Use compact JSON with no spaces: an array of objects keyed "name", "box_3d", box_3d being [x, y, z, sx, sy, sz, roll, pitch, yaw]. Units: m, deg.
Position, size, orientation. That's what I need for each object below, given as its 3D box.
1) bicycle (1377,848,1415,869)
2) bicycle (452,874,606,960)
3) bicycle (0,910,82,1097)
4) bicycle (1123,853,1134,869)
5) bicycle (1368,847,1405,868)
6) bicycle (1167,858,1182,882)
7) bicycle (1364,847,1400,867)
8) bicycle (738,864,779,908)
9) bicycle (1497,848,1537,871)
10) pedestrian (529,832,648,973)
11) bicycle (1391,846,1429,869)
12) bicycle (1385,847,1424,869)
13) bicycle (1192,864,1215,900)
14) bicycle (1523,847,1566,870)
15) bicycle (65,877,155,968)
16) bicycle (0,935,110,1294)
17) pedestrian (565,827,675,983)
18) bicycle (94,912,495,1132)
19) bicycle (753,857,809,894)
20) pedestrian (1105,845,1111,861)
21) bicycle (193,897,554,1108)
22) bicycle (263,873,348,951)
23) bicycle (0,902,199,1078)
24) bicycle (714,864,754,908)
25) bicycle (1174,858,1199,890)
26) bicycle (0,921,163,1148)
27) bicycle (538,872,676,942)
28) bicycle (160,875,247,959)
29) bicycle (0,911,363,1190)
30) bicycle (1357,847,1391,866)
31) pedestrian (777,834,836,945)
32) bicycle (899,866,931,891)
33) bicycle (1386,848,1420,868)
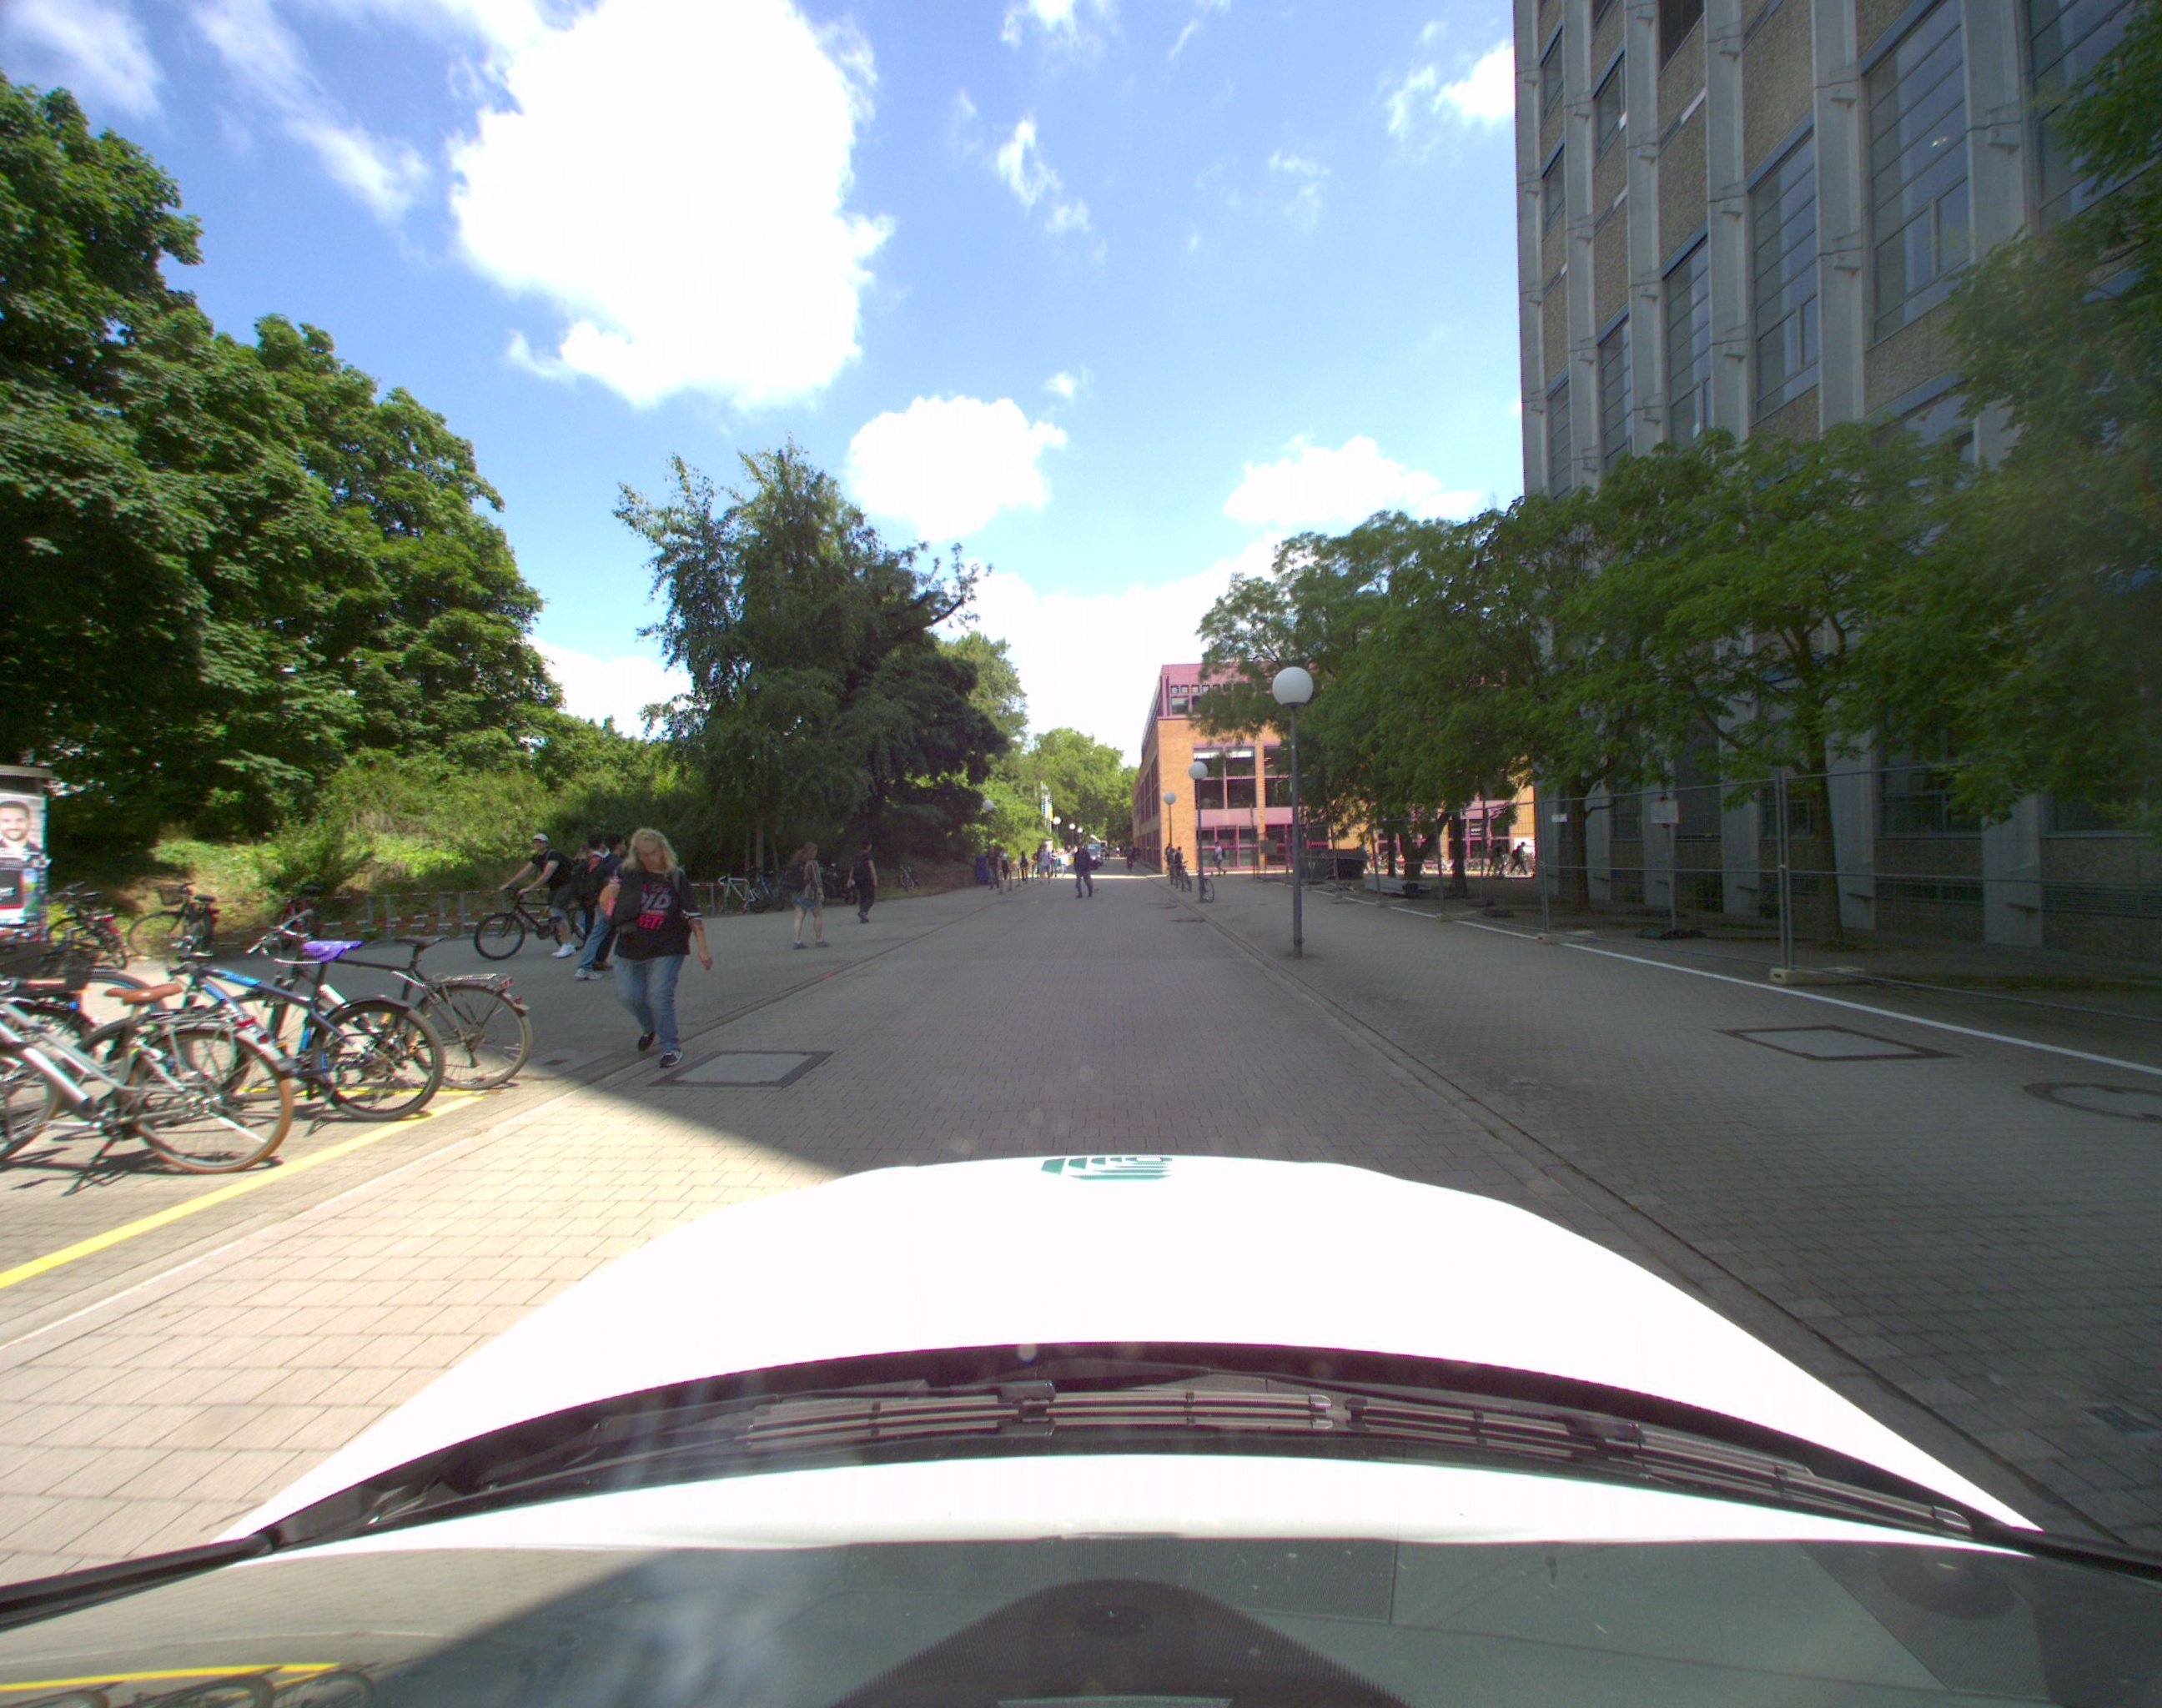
[{"name":"bicycle","box_3d":[16.521,0.239,42.742,1.803,1.110,0.524,0,0,1]},{"name":"bicycle","box_3d":[-8.055,0.881,11.984,0.468,1.110,1.856,-1,0,28]},{"name":"bicycle","box_3d":[-7.255,0.916,5.196,1.705,1.083,0.476,-1,0,16]},{"name":"bicycle","box_3d":[3.337,0.471,57.179,0.585,1.083,1.907,-1,0,-1]},{"name":"bicycle","box_3d":[16.357,0.186,43.603,1.800,1.110,0.524,0,0,5]},{"name":"bicycle","box_3d":[3.987,0.656,34.743,0.449,0.962,1.741,-4,0,2]},{"name":"bicycle","box_3d":[16.470,0.150,44.569,1.804,1.110,0.523,0,0,-1]},{"name":"bicycle","box_3d":[-8.248,0.798,20.790,0.476,1.047,1.680,1,0,-39]},{"name":"bicycle","box_3d":[22.421,0.297,41.875,1.799,1.169,0.474,0,0,2]},{"name":"pedestrian","box_3d":[-6.379,0.586,10.586,0.710,1.724,1.071,-1,1,34]},{"name":"bicycle","box_3d":[16.533,0.177,40.955,1.686,1.110,0.475,0,0,5]},{"name":"bicycle","box_3d":[16.704,0.204,42.074,1.800,1.110,0.524,0,0,5]},{"name":"bicycle","box_3d":[3.510,0.797,23.433,0.394,0.936,1.732,-3,0,2]},{"name":"bicycle","box_3d":[24.431,0.231,42.960,1.989,1.169,0.474,0,0,1]},{"name":"bicycle","box_3d":[-12.934,0.875,10.838,1.755,1.110,0.477,-1,0,30]},{"name":"bicycle","box_3d":[-4.474,0.899,2.967,1.762,1.168,0.476,-1,0,14]},{"name":"pedestrian","box_3d":[-5.740,0.594,10.163,0.677,1.835,0.947,-1,1,36]},{"name":"bicycle","box_3d":[-4.349,0.904,4.579,1.691,1.091,0.473,-1,0,-5]},{"name":"bicycle","box_3d":[-8.862,0.626,24.108,0.468,1.047,1.709,1,0,23]},{"name":"pedestrian","box_3d":[2.868,-0.142,87.344,0.584,1.672,0.818,-2,-1,3]},{"name":"bicycle","box_3d":[-4.309,0.878,5.047,1.692,1.159,0.473,-1,0,-7]},{"name":"bicycle","box_3d":[-11.972,0.866,12.554,1.755,1.110,0.477,-1,0,30]},{"name":"bicycle","box_3d":[-7.131,0.914,5.742,1.682,1.110,0.476,-1,0,14]},{"name":"bicycle","box_3d":[-8.669,0.780,20.314,0.476,1.047,1.680,-1,0,-39]},{"name":"bicycle","box_3d":[3.786,0.705,29.235,0.705,1.093,1.749,-1,0,1]},{"name":"bicycle","box_3d":[-5.694,0.938,3.929,0.504,1.083,1.702,-1,0,5]},{"name":"bicycle","box_3d":[-7.901,0.855,13.651,0.535,1.047,1.921,-2,-1,40]},{"name":"bicycle","box_3d":[-12.559,0.867,11.645,1.755,1.110,0.477,-1,0,30]},{"name":"bicycle","box_3d":[-4.469,0.883,3.819,1.691,1.168,0.473,-1,0,-5]},{"name":"bicycle","box_3d":[16.688,0.133,46.395,1.803,1.110,0.524,0,0,0]},{"name":"pedestrian","box_3d":[-4.351,0.545,12.938,0.682,1.724,0.731,0,0,0]},{"name":"bicycle","box_3d":[-6.284,0.907,30.882,0.418,0.910,1.748,-1,-1,17]},{"name":"bicycle","box_3d":[18.664,0.235,47.174,1.802,1.110,0.473,0,0,-4]}]
